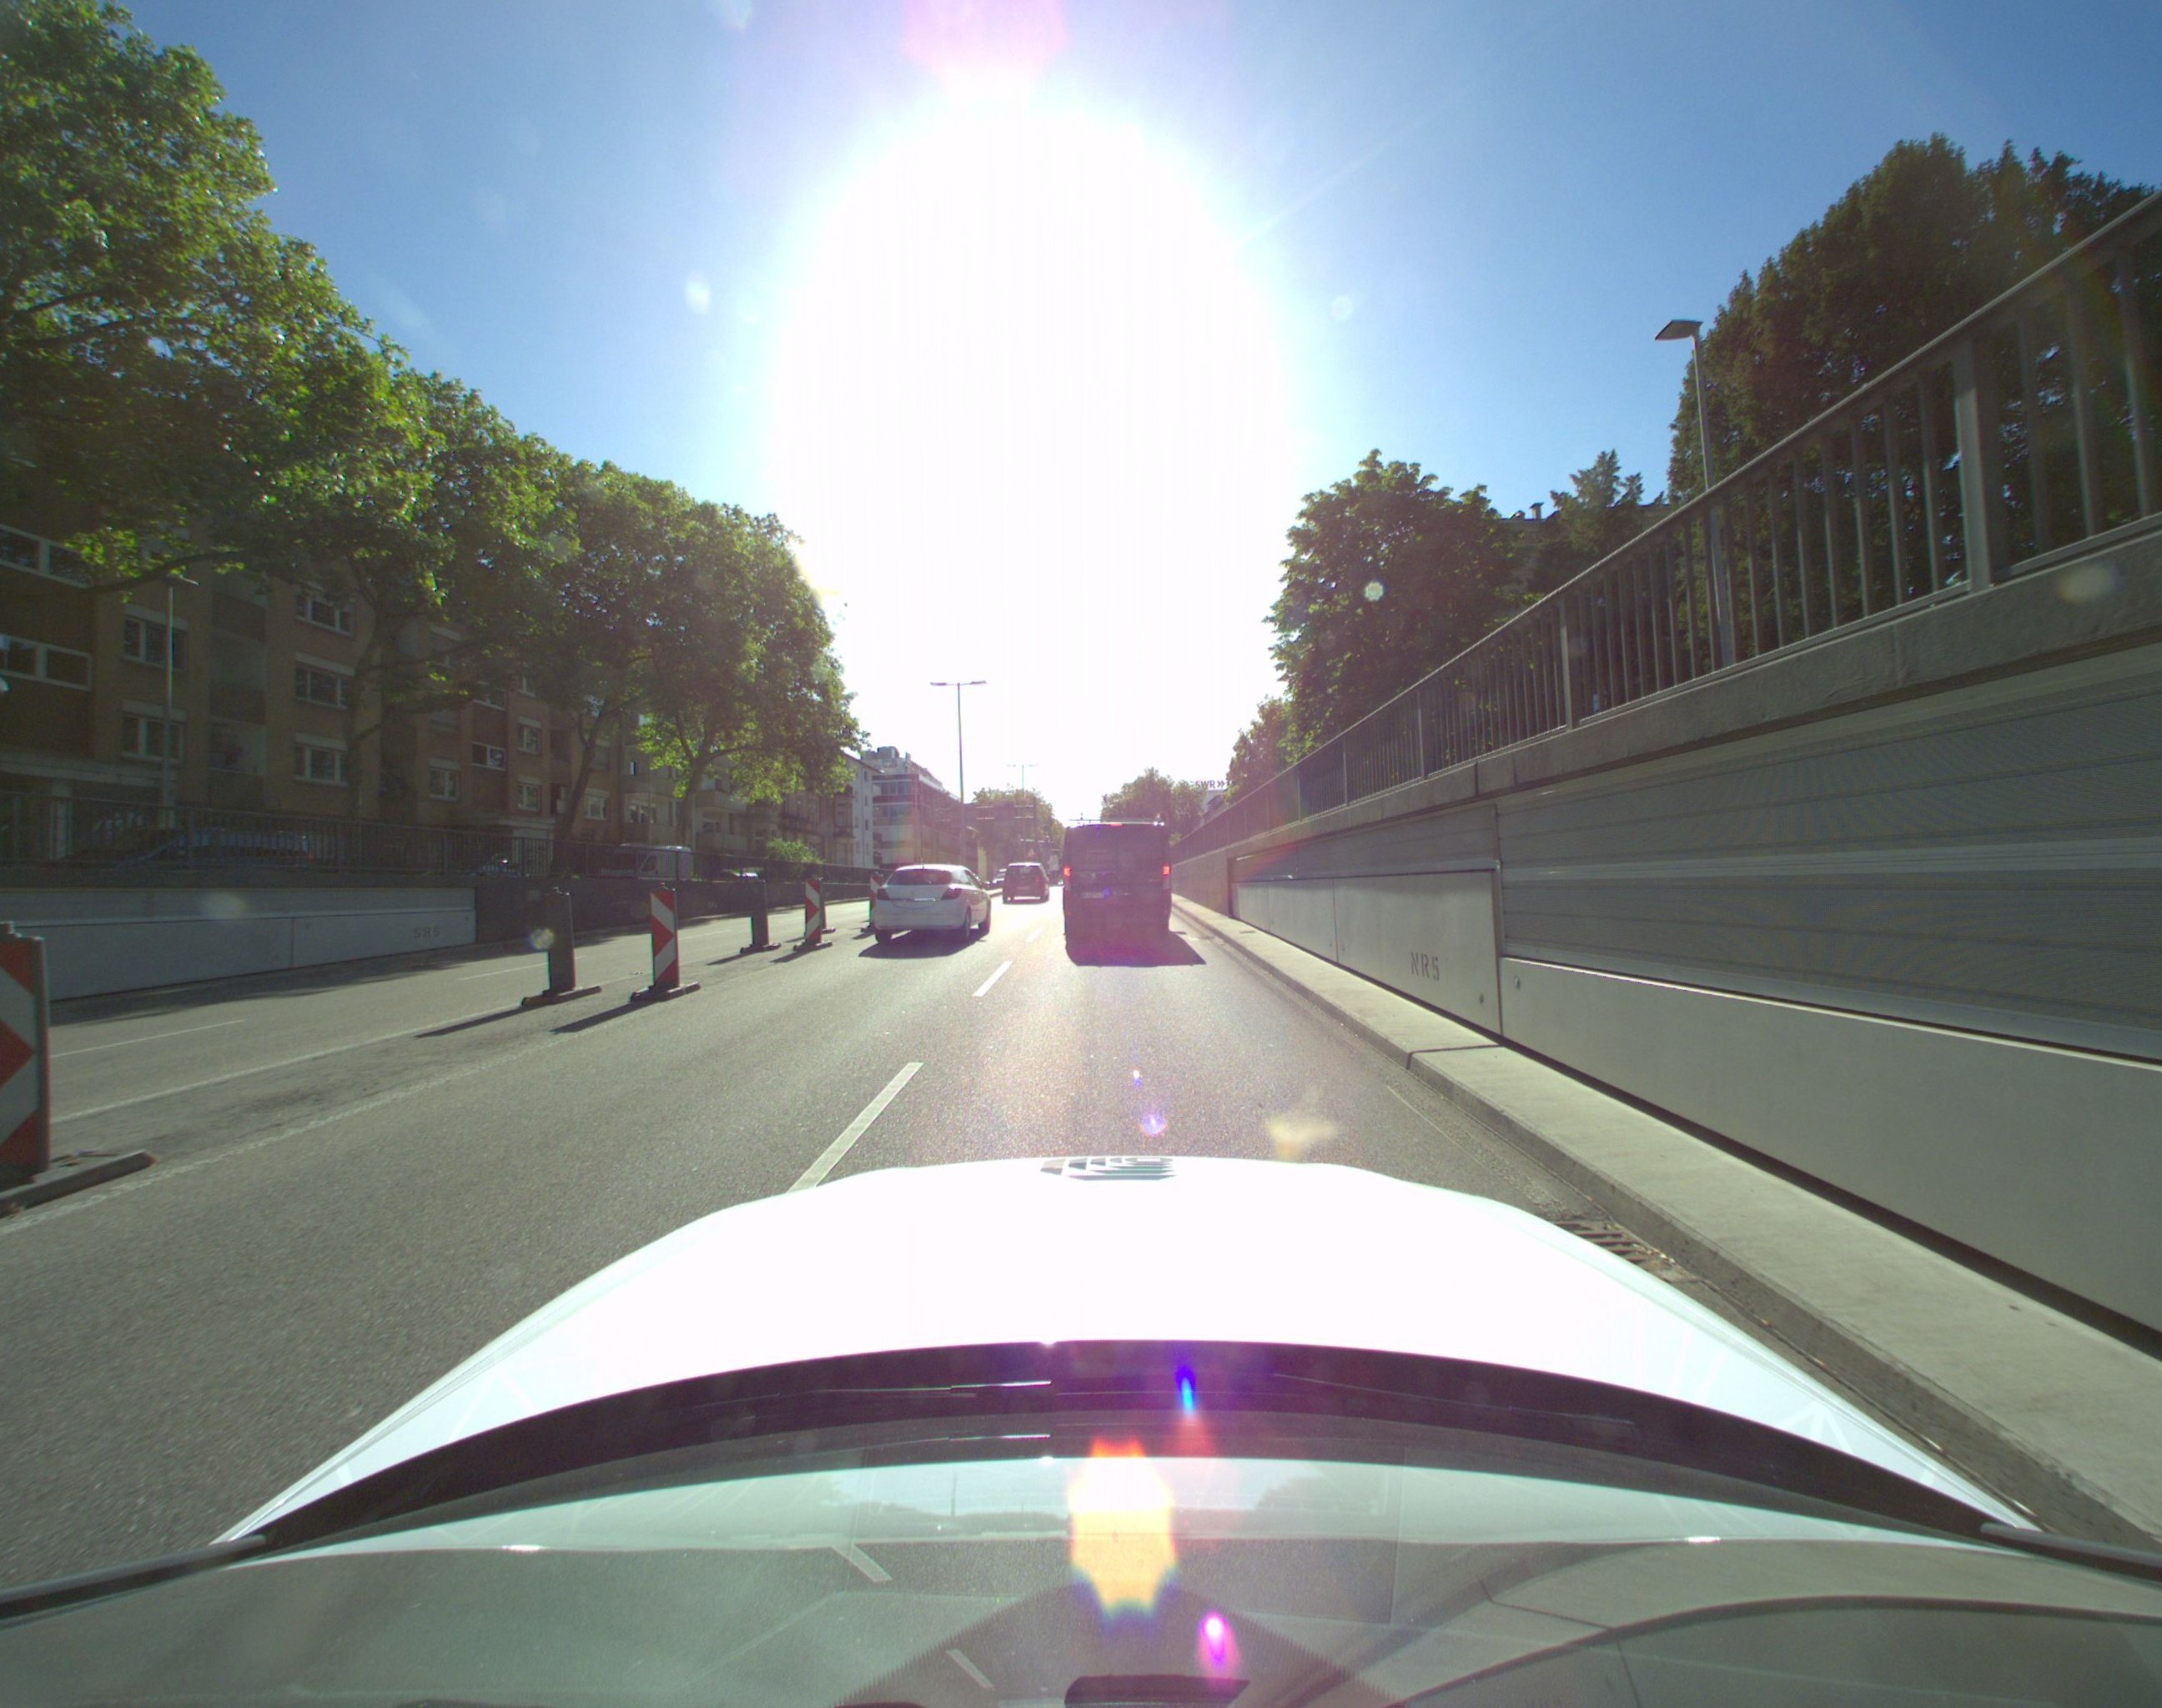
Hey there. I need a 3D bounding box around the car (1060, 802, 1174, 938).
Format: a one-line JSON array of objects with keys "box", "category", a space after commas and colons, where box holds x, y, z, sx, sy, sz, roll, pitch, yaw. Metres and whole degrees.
[{"box": [0.711, 0.345, 16.766, 2.022, 2.403, 3.973, -2, -2, 2], "category": "car"}]

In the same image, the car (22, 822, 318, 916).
[{"box": [-21.398, 0.374, 19.504, 1.959, 1.961, 4.526, -1, -2, 0], "category": "car"}]

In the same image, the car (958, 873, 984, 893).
[{"box": [-9.114, 2.402, 67.613, 1.533, 1.465, 3.718, -5, -1, 1], "category": "car"}]

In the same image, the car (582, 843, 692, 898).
[{"box": [-20.848, 0.801, 38.570, 1.985, 2.360, 5.422, -1, -2, 3], "category": "car"}]

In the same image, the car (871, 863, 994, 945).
[{"box": [-2.798, 0.896, 16.140, 1.613, 1.403, 3.853, -1, -1, 1], "category": "car"}]

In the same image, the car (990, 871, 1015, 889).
[{"box": [-6.497, 2.145, 67.783, 1.533, 1.300, 3.928, -5, -1, 1], "category": "car"}]

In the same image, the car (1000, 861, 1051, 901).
[{"box": [-2.113, 1.015, 31.816, 1.683, 1.483, 3.319, -1, -1, 1], "category": "car"}]

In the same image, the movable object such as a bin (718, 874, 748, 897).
[{"box": [-21.756, 1.976, 50.891, 1.274, 1.402, 1.302, -1, -2, 2], "category": "movable object such as a bin"}]
